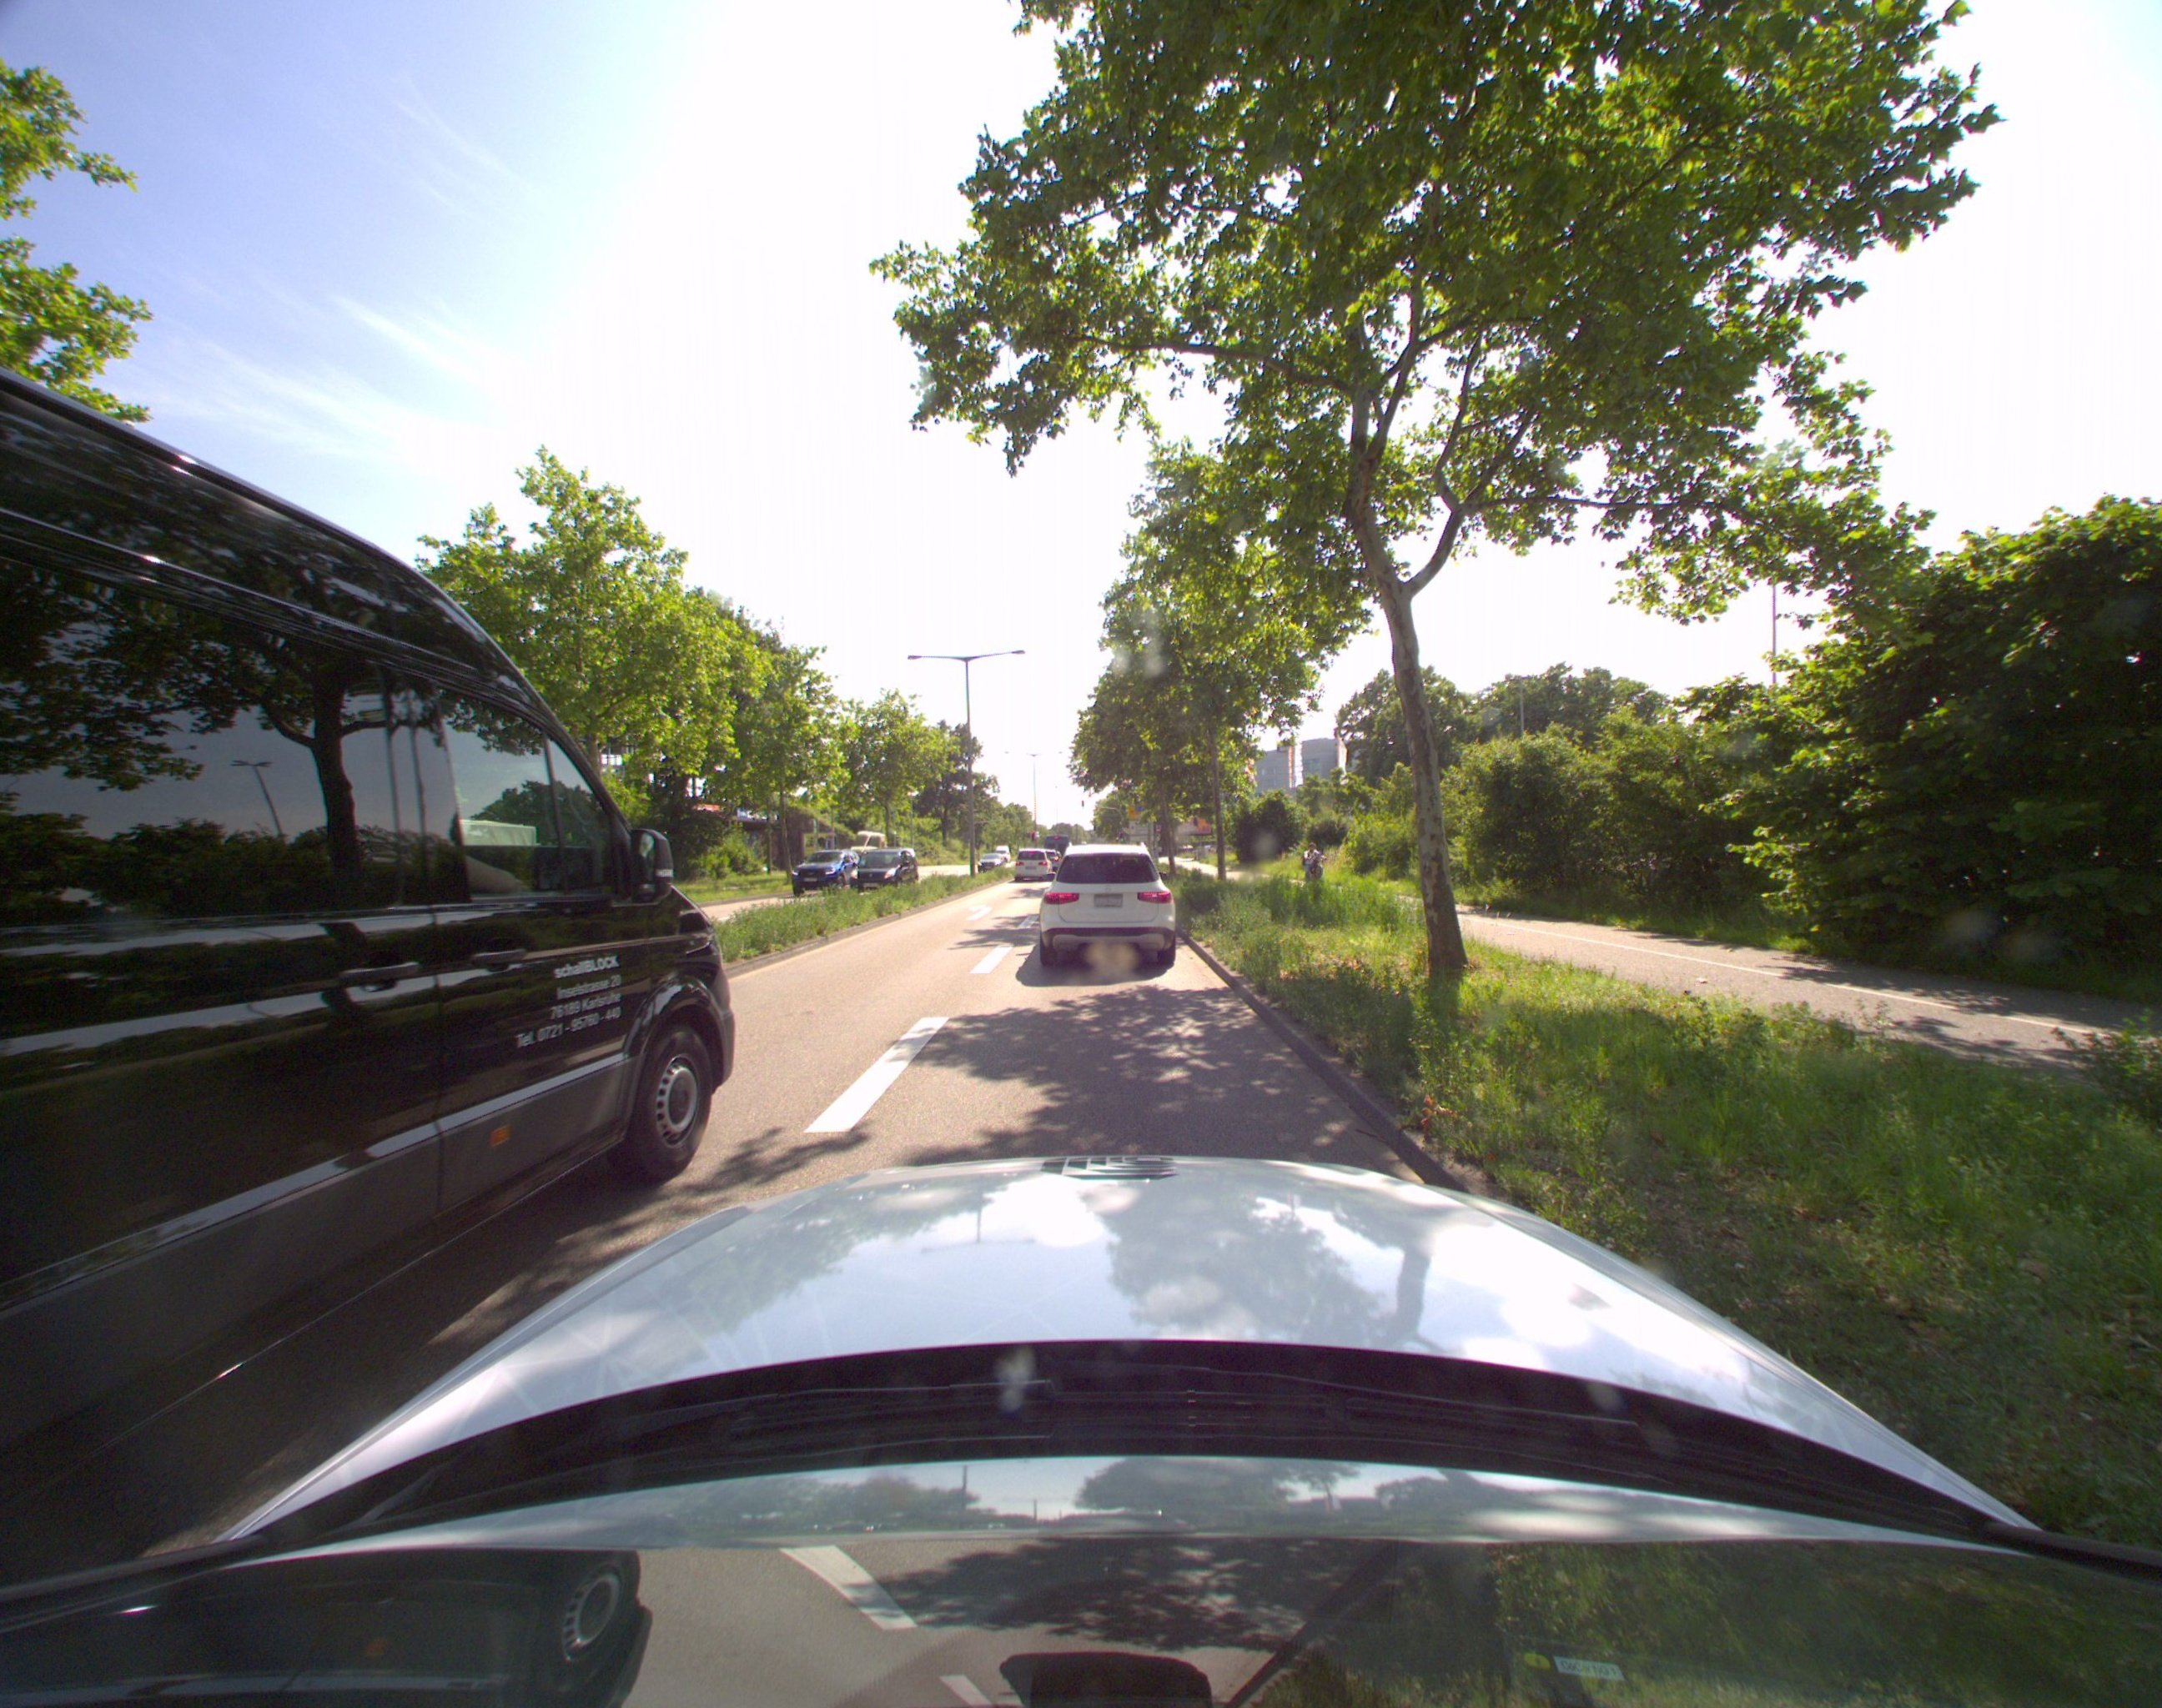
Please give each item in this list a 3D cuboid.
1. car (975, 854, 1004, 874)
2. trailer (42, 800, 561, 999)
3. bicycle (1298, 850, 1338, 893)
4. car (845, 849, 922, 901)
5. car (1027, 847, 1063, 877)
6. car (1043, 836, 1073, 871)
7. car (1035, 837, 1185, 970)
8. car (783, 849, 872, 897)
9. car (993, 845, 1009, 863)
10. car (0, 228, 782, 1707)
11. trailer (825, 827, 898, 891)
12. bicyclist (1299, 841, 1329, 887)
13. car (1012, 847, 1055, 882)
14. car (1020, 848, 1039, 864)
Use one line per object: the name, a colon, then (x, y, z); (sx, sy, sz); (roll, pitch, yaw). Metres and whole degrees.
car: (-6.852, 0.750, 61.274); (1.597, 1.472, 3.791); (-1, 0, 2)
trailer: (-10.805, 0.527, 12.202); (2.300, 2.265, 5.540); (-1, 0, 2)
bicycle: (7.488, 0.540, 25.844); (0.720, 1.299, 2.096); (0, 0, 2)
car: (-7.339, 0.742, 30.632); (1.724, 1.809, 4.234); (0, 0, 2)
car: (-2.065, 0.465, 47.410); (1.765, 1.647, 4.086); (-1, 0, 2)
car: (-1.745, -0.060, 63.681); (2.073, 2.656, 4.876); (0, 0, 2)
car: (0.304, 0.610, 12.218); (1.849, 1.607, 3.997); (-2, 0, -2)
car: (-10.177, 0.726, 33.187); (1.758, 1.789, 5.378); (0, 0, 2)
car: (-11.020, -0.074, 112.613); (1.990, 2.418, 5.132); (-1, 0, -4)
car: (-2.878, 0.215, 1.775); (2.008, 2.607, 6.170); (0, 0, 2)
trailer: (-10.025, 0.231, 37.618); (1.873, 2.744, 4.830); (0, 0, 2)
bicyclist: (7.520, 0.315, 26.325); (0.701, 1.477, 1.010); (0, 0, 2)
car: (-2.362, 0.500, 41.570); (1.765, 1.647, 4.354); (-1, 0, 2)
car: (-6.228, 0.255, 99.286); (1.987, 1.882, 4.000); (0, 0, 1)
